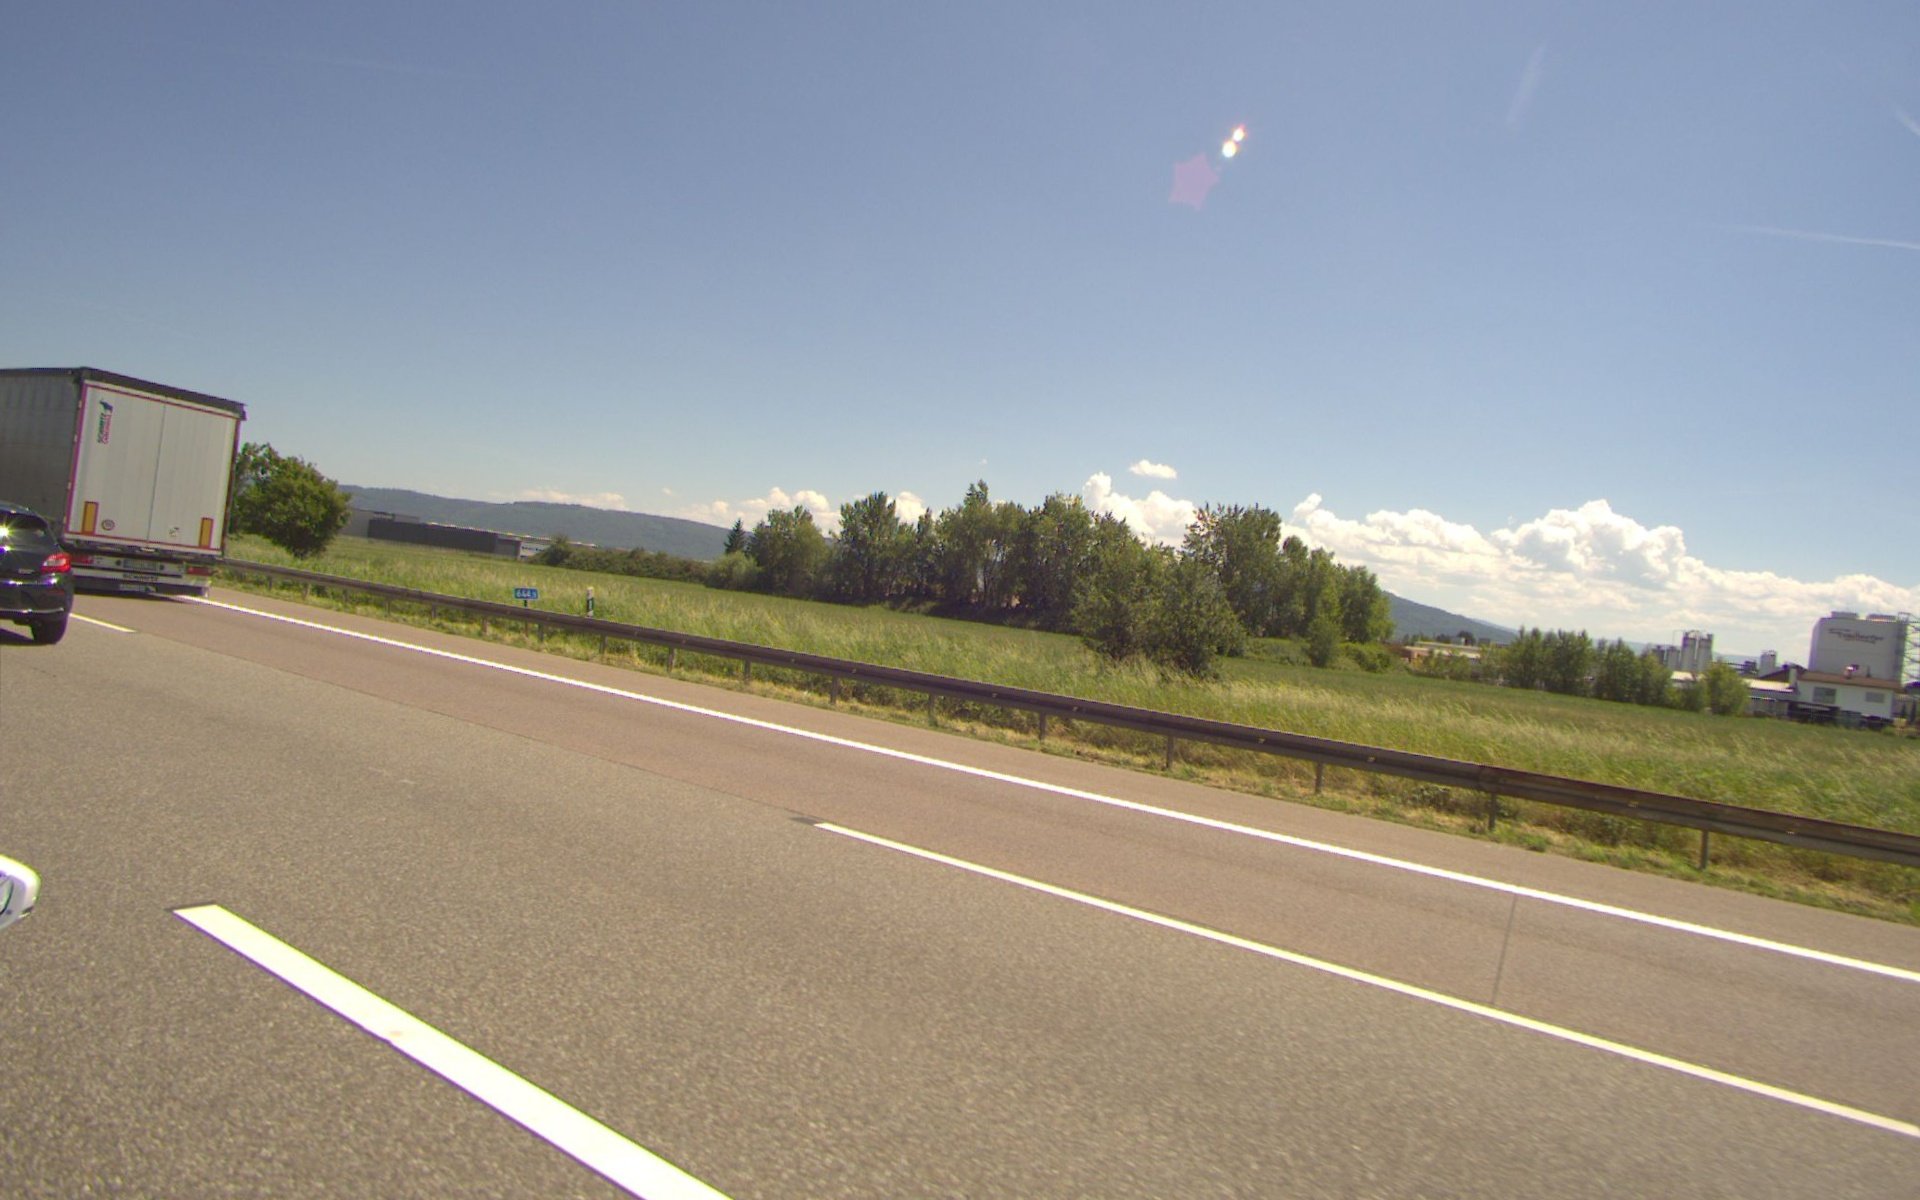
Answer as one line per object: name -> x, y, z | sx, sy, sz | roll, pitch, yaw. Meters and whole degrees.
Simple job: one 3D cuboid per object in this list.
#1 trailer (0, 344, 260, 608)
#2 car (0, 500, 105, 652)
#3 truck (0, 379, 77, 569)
trailer -> -20.748, -2.794, 22.435 | 14.019, 4.354, 2.815 | 6, -1, 32
car -> -11.185, -0.424, 10.997 | 3.375, 1.490, 1.691 | 6, -2, 31
truck -> -26.020, -3.397, 25.745 | 7.074, 4.355, 2.815 | 6, -1, 32
